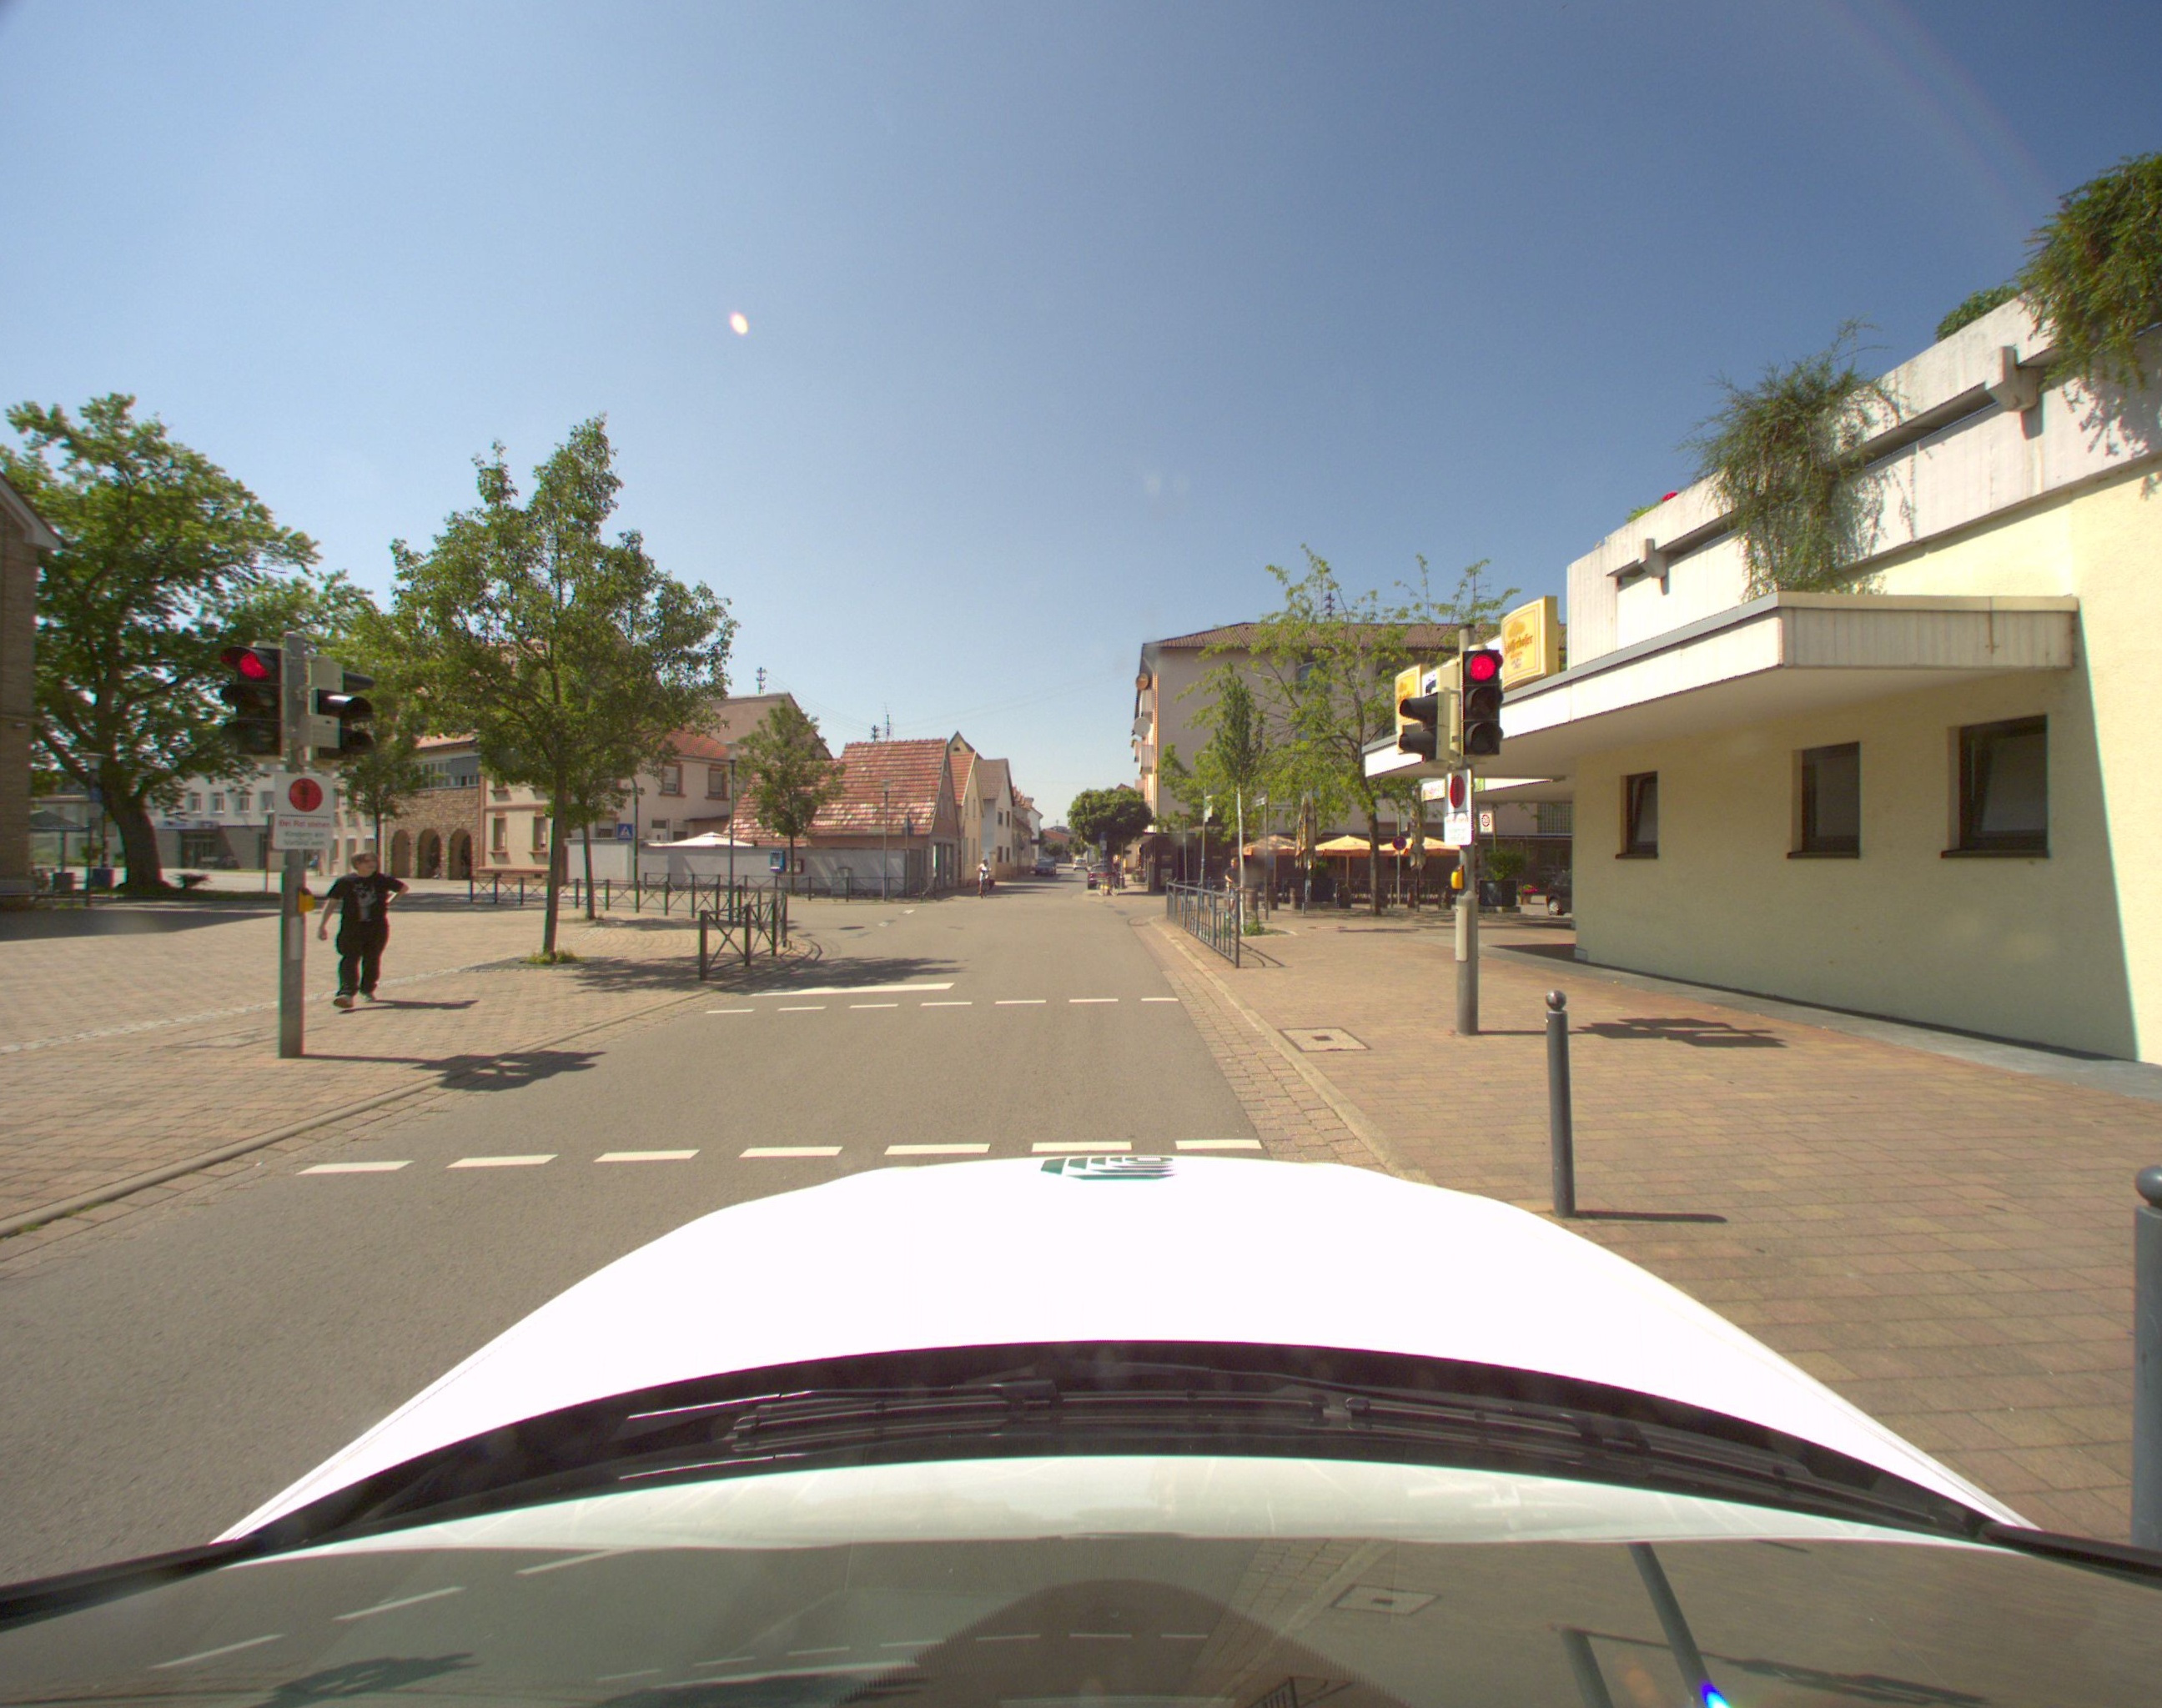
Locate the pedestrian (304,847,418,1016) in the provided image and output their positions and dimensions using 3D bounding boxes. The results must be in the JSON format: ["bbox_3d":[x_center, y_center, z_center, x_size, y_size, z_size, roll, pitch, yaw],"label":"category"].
[{"bbox_3d":[-7.543,0.766,8.576,0.818,1.655,0.841,2,-2,-40],"label":"pedestrian"}]

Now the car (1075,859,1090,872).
[{"bbox_3d":[0.244,1.469,104.849,1.827,1.652,4.002,0,-1,2],"label":"car"}]

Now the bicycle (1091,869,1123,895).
[{"bbox_3d":[1.239,1.303,38.711,0.530,1.193,1.655,1,-1,-42],"label":"bicycle"}]

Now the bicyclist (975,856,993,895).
[{"bbox_3d":[-4.279,0.923,35.943,0.666,1.691,0.762,-1,-1,1],"label":"bicyclist"}]

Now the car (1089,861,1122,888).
[{"bbox_3d":[1.456,1.153,47.495,1.797,1.501,4.003,0,0,3],"label":"car"}]

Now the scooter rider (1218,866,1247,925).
[{"bbox_3d":[3.386,0.920,18.198,0.517,1.286,0.416,0,-1,-16],"label":"scooter rider"}]

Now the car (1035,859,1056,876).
[{"bbox_3d":[-3.390,1.280,78.442,1.707,1.517,3.789,0,-1,3],"label":"car"}]

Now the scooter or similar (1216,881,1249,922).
[{"bbox_3d":[3.373,1.051,18.160,0.379,0.873,0.885,0,-1,-15],"label":"scooter or similar"}]

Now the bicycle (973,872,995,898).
[{"bbox_3d":[-4.269,1.349,35.991,0.671,1.094,1.896,-1,-1,2],"label":"bicycle"}]
